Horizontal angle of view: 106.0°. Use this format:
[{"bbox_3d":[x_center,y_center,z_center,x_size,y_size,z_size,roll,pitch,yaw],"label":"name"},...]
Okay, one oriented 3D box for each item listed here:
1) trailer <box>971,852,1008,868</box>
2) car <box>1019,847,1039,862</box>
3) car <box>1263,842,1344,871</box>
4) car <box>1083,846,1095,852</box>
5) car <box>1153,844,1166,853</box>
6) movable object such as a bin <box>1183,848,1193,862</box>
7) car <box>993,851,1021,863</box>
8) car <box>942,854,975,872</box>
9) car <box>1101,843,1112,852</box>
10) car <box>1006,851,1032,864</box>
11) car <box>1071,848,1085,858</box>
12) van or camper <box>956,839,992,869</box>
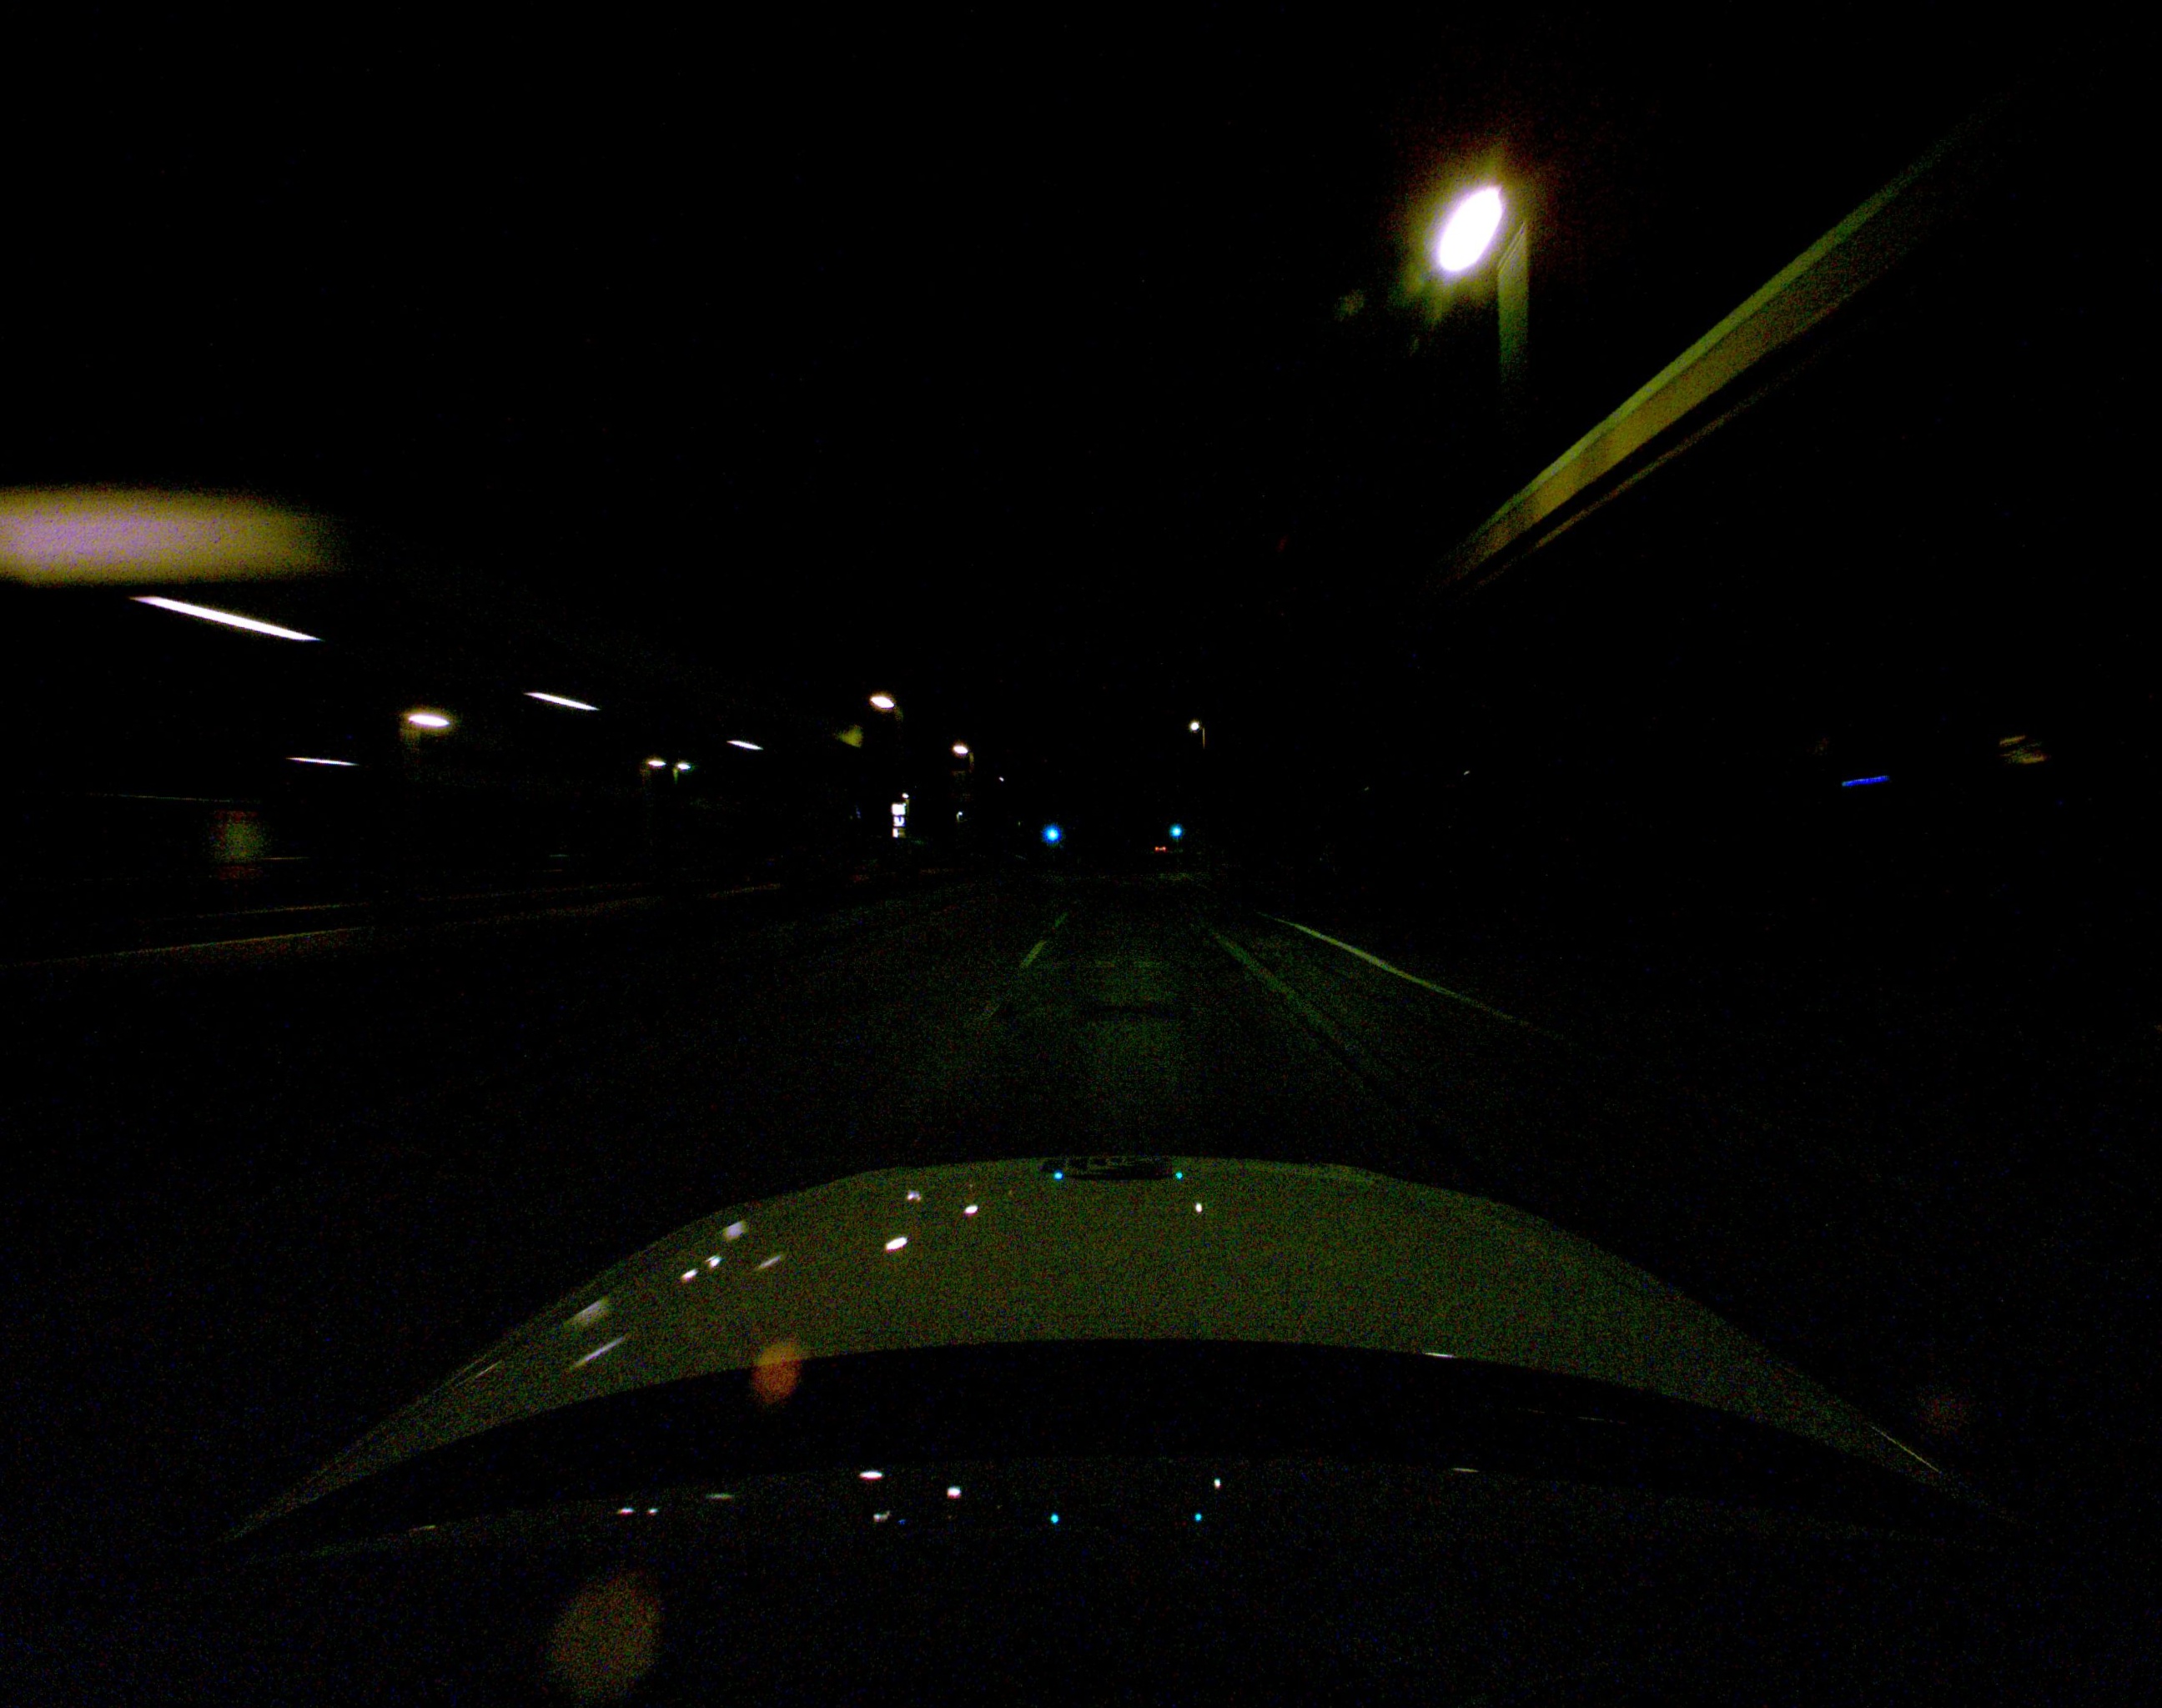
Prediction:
[{"bbox_3d":[-9.525,0.637,85.068,2.404,1.374,4.670,-6,0,12],"label":"trailer"},{"bbox_3d":[-6.696,0.071,105.122,1.848,1.904,4.886,-2,0,4],"label":"car"},{"bbox_3d":[11.471,0.119,42.167,3.747,1.354,1.861,-2,0,4],"label":"car"},{"bbox_3d":[1.743,-1.060,172.628,1.983,1.338,5.443,-2,0,7],"label":"car"},{"bbox_3d":[14.317,-1.079,148.942,2.152,1.583,4.018,-1,0,4],"label":"car"},{"bbox_3d":[9.382,0.124,71.577,0.719,1.200,0.722,-2,0,14],"label":"movable object such as a bin"},{"bbox_3d":[-8.532,0.371,93.646,3.016,1.326,1.535,-2,0,2],"label":"car"},{"bbox_3d":[-10.768,0.787,71.808,1.637,1.339,4.551,-6,0,6],"label":"car"},{"bbox_3d":[6.341,-1.560,203.029,2.081,2.013,4.008,-6,1,7],"label":"car"},{"bbox_3d":[-7.533,0.418,99.086,1.890,1.522,5.186,-2,0,10],"label":"car"},{"bbox_3d":[-0.586,-0.180,152.831,1.983,1.628,4.686,-2,0,7],"label":"car"},{"bbox_3d":[-10.183,-0.039,78.219,2.263,2.647,5.669,-4,0,3],"label":"van or camper"}]
